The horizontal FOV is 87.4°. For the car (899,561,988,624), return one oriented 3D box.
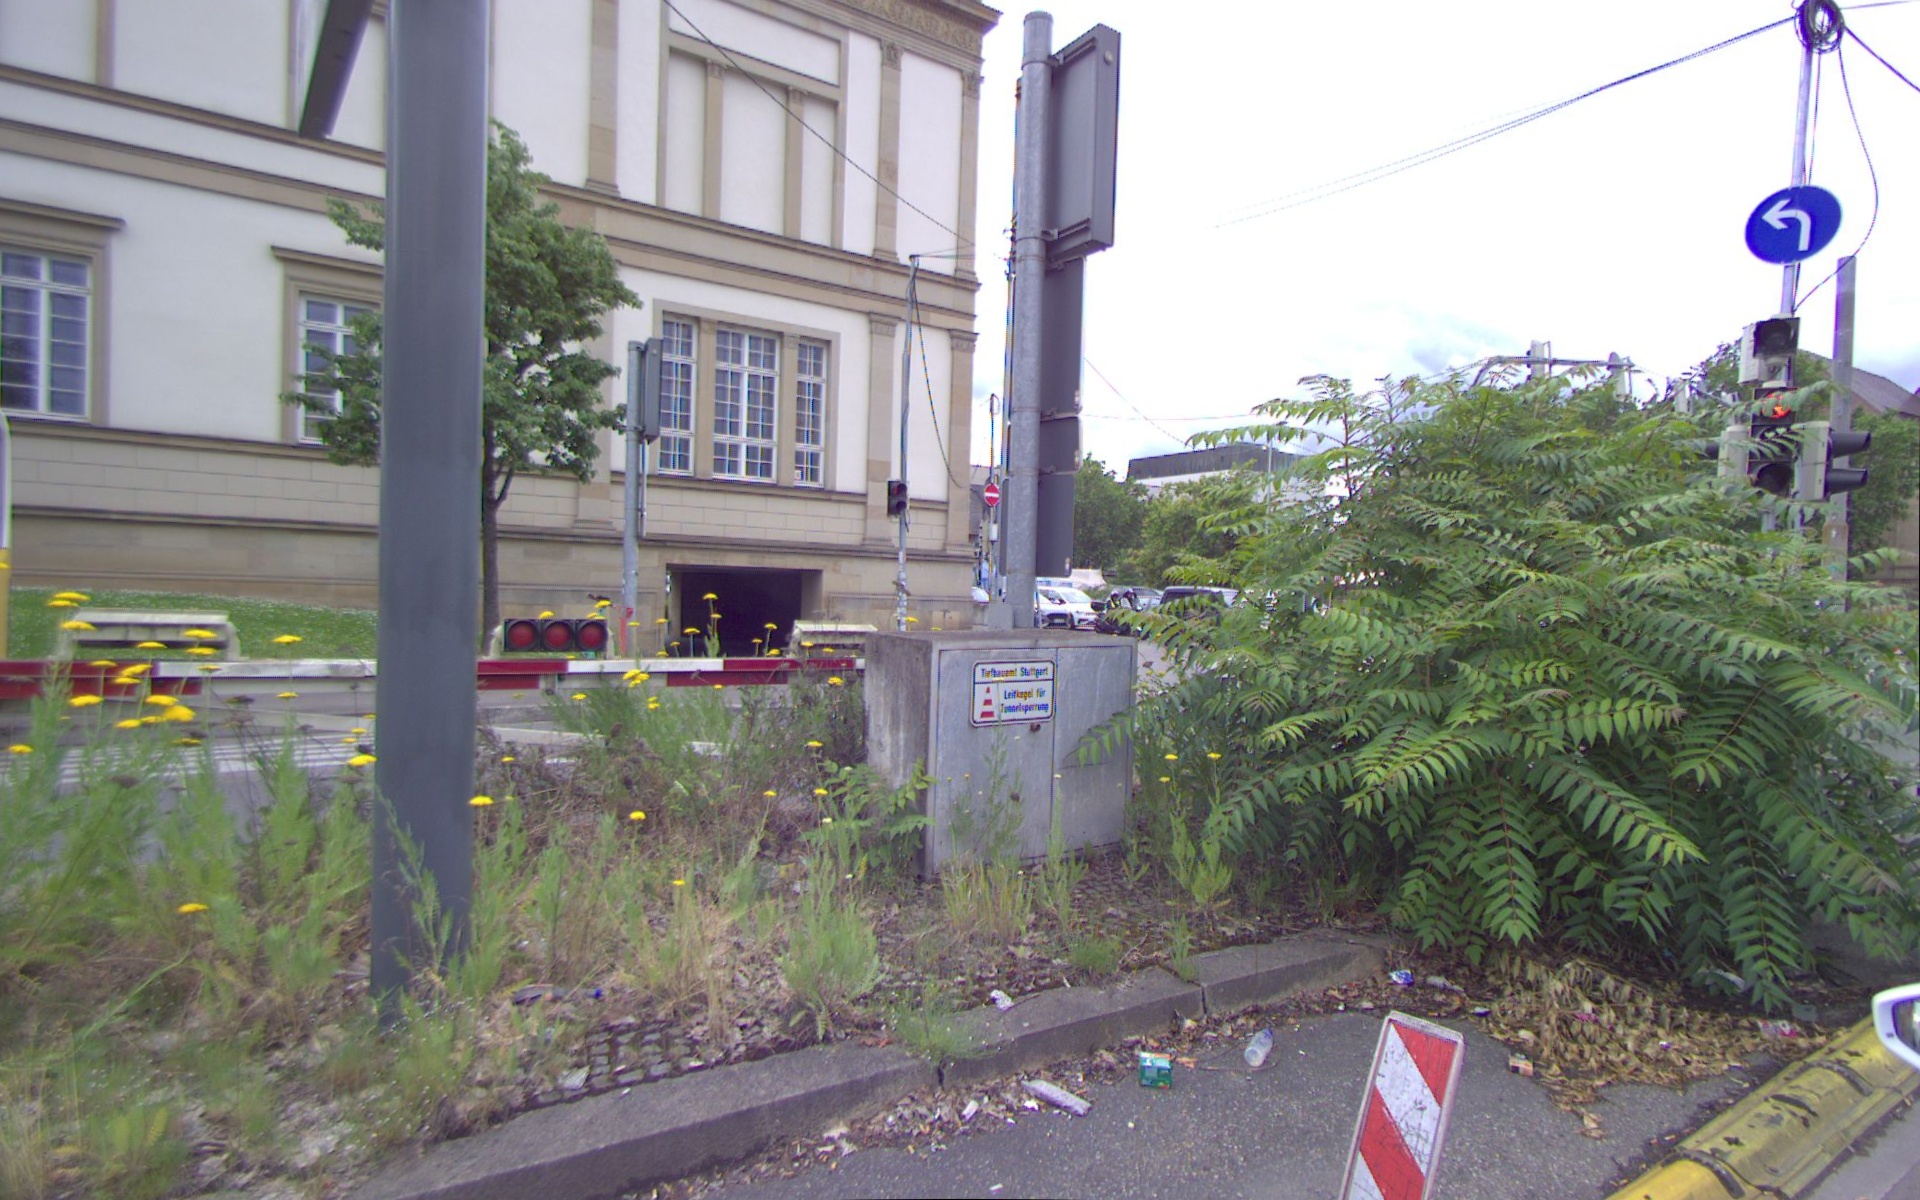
[{"bbox_3d":[-0.784,-0.323,43.541,1.978,2.585,4.083,2,0,-32],"label":"car"}]

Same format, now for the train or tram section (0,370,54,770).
[{"bbox_3d":[-11.454,-0.301,5.485,9.229,3.112,2.680,1,-1,-31],"label":"train or tram section"}]

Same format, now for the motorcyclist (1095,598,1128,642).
[{"bbox_3d":[4.964,0.658,32.865,0.690,1.398,0.784,2,0,-33],"label":"motorcyclist"}]

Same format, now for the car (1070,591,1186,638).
[{"bbox_3d":[6.072,0.514,36.708,1.978,1.568,4.084,2,0,-32],"label":"car"}]

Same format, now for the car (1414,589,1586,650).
[{"bbox_3d":[17.257,0.579,32.274,1.983,1.783,4.455,2,0,-38],"label":"car"}]

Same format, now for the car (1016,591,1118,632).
[{"bbox_3d":[4.288,0.439,40.790,1.978,1.568,4.084,2,0,-32],"label":"car"}]

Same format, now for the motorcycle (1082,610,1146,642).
[{"bbox_3d":[5.009,0.831,32.777,0.690,0.953,2.335,2,0,-32],"label":"motorcycle"}]

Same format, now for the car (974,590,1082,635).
[{"bbox_3d":[2.493,0.443,37.564,1.978,1.568,4.083,2,0,-32],"label":"car"}]
